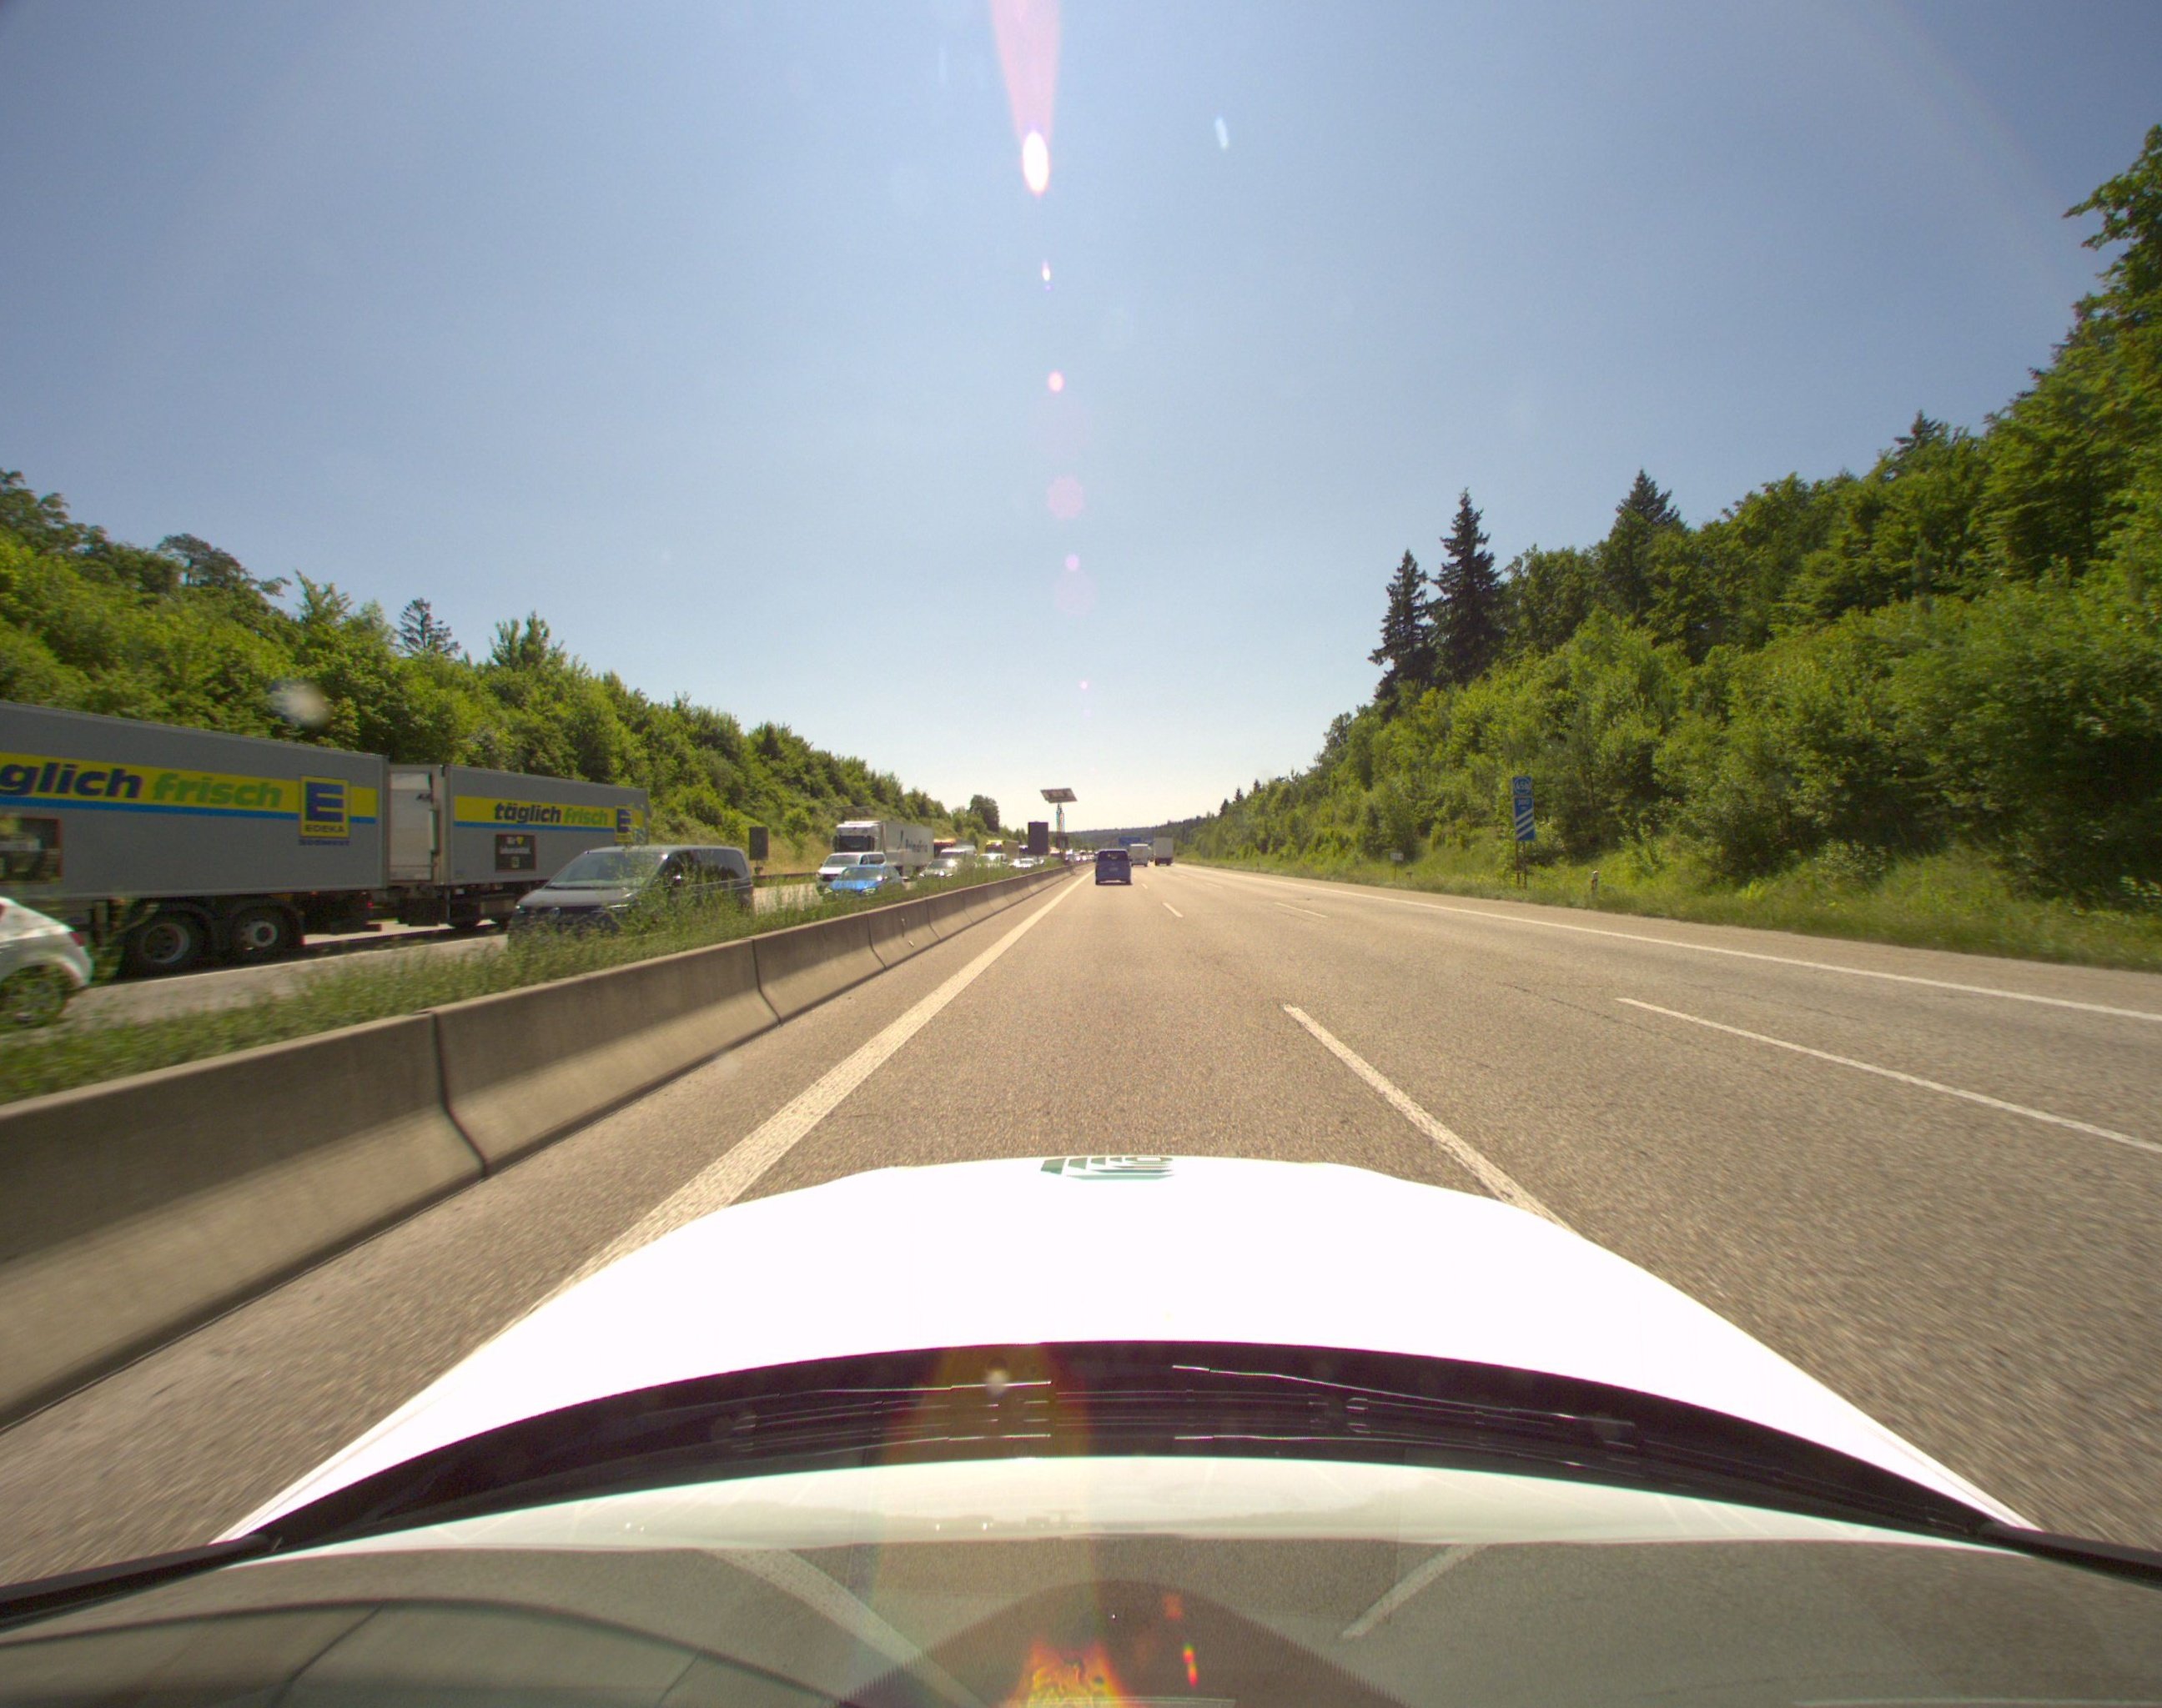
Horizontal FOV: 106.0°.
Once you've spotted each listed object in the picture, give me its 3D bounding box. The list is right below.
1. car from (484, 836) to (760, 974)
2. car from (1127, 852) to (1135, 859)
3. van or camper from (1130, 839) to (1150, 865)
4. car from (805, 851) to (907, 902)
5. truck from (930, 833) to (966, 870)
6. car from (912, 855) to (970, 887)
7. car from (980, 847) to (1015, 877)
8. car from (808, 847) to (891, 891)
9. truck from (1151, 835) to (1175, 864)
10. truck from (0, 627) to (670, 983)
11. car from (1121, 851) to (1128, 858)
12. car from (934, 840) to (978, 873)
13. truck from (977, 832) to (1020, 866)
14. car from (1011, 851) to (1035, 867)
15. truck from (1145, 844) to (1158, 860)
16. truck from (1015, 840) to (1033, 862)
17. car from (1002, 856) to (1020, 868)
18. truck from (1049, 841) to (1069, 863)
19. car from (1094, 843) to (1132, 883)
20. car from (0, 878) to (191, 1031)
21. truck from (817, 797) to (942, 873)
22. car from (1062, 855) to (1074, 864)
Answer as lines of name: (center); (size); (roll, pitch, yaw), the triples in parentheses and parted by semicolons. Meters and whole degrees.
car: (-7.414, 0.734, 13.906); (1.820, 1.916, 4.972); (0, -1, 1)
car: (11.971, 0.389, 193.828); (1.773, 1.486, 4.002); (-1, 0, 2)
van or camper: (8.068, -0.331, 111.375); (2.592, 3.077, 7.191); (0, 3, 4)
car: (-7.087, 0.683, 26.192); (1.820, 1.478, 4.972); (0, 0, 1)
truck: (-12.610, -0.189, 77.518); (2.485, 3.365, 5.186); (0, -1, 1)
car: (-6.742, 0.791, 39.876); (1.820, 1.478, 5.399); (0, 0, 1)
car: (-5.916, 0.561, 58.313); (1.820, 1.977, 5.665); (0, -1, 1)
car: (-11.025, 0.706, 39.316); (2.176, 1.941, 5.887); (0, 0, 1)
truck: (12.144, -0.669, 121.065); (2.773, 4.128, 9.743); (0, -1, 2)
truck: (-15.120, -0.564, 15.768); (3.682, 4.456, 19.463); (0, 0, 3)
car: (11.173, 0.048, 209.948); (1.769, 1.772, 4.002); (-1, 0, 2)
car: (-9.514, 0.221, 62.424); (2.176, 2.384, 6.543); (0, -1, 2)
truck: (-11.666, -0.591, 117.678); (3.682, 4.456, 17.391); (0, 0, 3)
car: (-5.521, 0.513, 77.857); (1.821, 1.497, 4.759); (0, 0, 1)
truck: (17.090, -0.477, 197.476); (2.915, 3.575, 8.536); (-2, 1, 4)
truck: (-10.059, -0.469, 143.679); (2.669, 3.743, 5.872); (0, -1, 1)
car: (-8.723, 0.976, 102.061); (1.821, 1.497, 4.759); (0, 0, 1)
truck: (-3.166, -0.285, 117.487); (2.258, 3.016, 6.782); (0, -1, 3)
car: (1.721, 0.458, 43.960); (1.902, 2.013, 4.002); (1, 0, 2)
car: (-11.555, 1.008, 7.689); (1.826, 1.470, 4.035); (0, -1, 0)
truck: (-13.403, -1.070, 56.949); (3.682, 4.456, 17.391); (0, 0, 3)
car: (-2.200, 0.989, 139.823); (1.821, 1.497, 4.759); (0, 0, 1)
